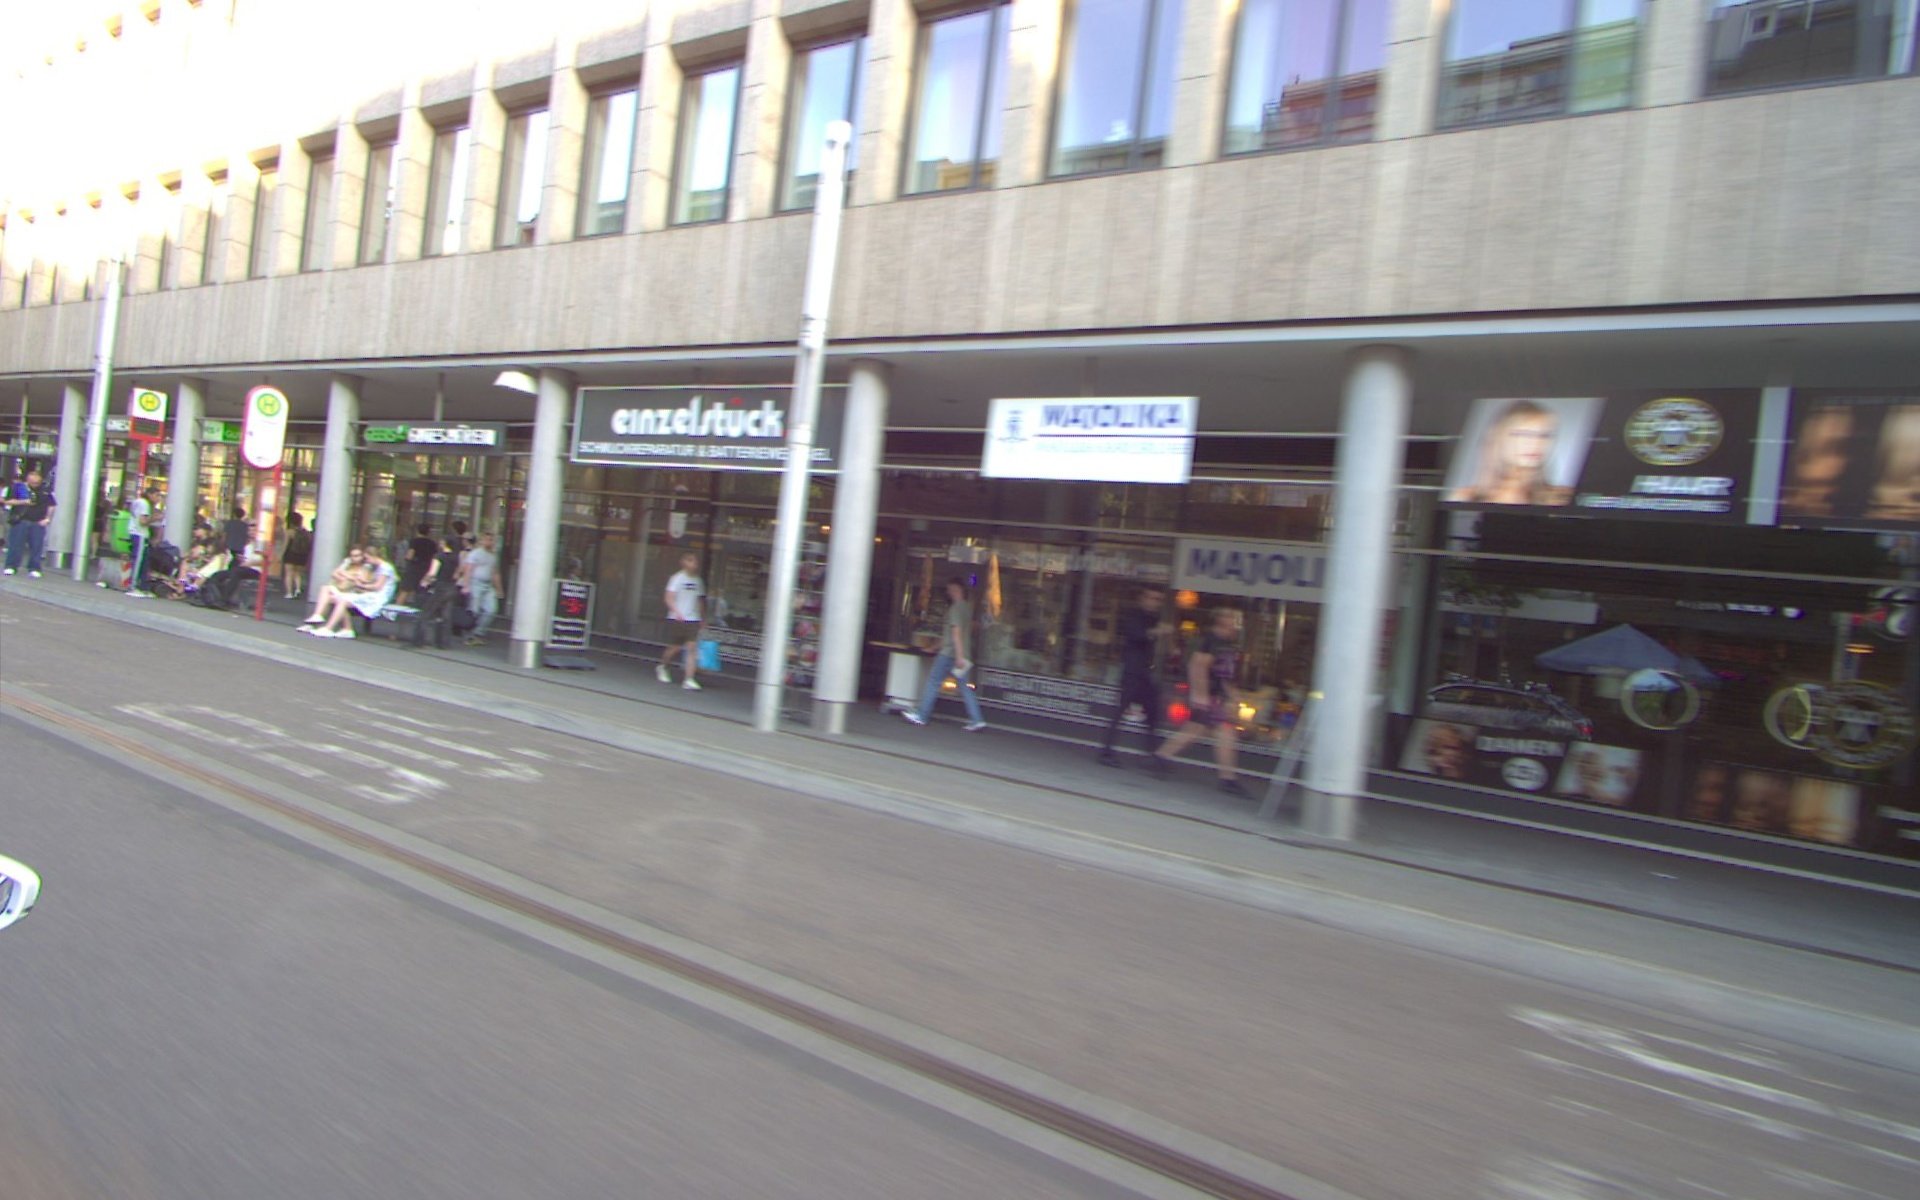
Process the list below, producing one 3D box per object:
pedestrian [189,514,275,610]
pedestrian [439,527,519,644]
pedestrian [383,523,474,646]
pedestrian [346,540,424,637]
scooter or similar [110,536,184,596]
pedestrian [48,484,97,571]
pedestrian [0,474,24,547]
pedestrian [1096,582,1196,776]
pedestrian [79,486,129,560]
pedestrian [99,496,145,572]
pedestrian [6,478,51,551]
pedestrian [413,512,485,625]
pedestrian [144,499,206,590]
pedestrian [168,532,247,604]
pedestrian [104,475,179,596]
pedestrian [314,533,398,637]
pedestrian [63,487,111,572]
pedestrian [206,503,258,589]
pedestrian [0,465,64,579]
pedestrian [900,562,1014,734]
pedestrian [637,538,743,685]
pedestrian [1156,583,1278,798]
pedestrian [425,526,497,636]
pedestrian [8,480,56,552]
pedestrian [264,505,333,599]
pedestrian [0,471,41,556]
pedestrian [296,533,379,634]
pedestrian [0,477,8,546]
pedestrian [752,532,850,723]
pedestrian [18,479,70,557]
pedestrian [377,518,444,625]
[{"bbox_3d":[-11.721,-0.607,16.204,0.651,1.397,0.814,6,-1,32],"label":"pedestrian"},{"bbox_3d":[-7.330,-0.216,15.337,0.710,1.682,0.688,6,1,32],"label":"pedestrian"},{"bbox_3d":[-7.345,-0.202,13.912,0.724,1.590,0.725,6,1,32],"label":"pedestrian"},{"bbox_3d":[-8.546,-0.165,14.967,0.523,1.330,0.719,6,-1,32],"label":"pedestrian"},{"bbox_3d":[-14.001,-0.587,17.322,0.678,0.894,0.832,6,-3,45],"label":"scooter or similar"},{"bbox_3d":[-19.703,-1.600,22.337,0.594,1.829,0.540,7,1,29],"label":"pedestrian"},{"bbox_3d":[-24.978,-2.347,26.153,0.707,1.809,0.663,6,1,31],"label":"pedestrian"},{"bbox_3d":[1.962,0.815,10.589,0.672,1.913,0.616,6,1,32],"label":"pedestrian"},{"bbox_3d":[-22.154,-1.983,26.036,0.707,1.809,0.663,6,1,31],"label":"pedestrian"},{"bbox_3d":[-20.426,-1.612,24.527,0.607,1.753,0.571,7,1,29],"label":"pedestrian"},{"bbox_3d":[-25.405,-2.325,27.443,0.708,1.871,0.662,6,1,36],"label":"pedestrian"},{"bbox_3d":[-9.187,-0.559,18.093,0.760,1.906,0.688,7,1,29],"label":"pedestrian"},{"bbox_3d":[-15.455,-1.093,19.809,0.639,1.682,0.649,7,1,31],"label":"pedestrian"},{"bbox_3d":[-12.451,-0.525,16.646,0.535,1.055,0.814,6,-1,32],"label":"pedestrian"},{"bbox_3d":[-13.296,-1.042,16.346,0.657,1.862,0.640,6,1,31],"label":"pedestrian"},{"bbox_3d":[-8.384,-0.200,13.976,0.516,1.330,0.719,6,-1,32],"label":"pedestrian"},{"bbox_3d":[-19.818,-1.597,22.837,0.594,1.829,0.540,7,1,29],"label":"pedestrian"},{"bbox_3d":[-15.650,-1.154,21.632,0.607,1.753,0.571,7,1,29],"label":"pedestrian"},{"bbox_3d":[-16.123,-1.337,17.373,0.696,1.862,0.669,6,1,30],"label":"pedestrian"},{"bbox_3d":[-0.030,0.571,12.130,0.884,1.913,0.845,6,1,31],"label":"pedestrian"},{"bbox_3d":[-3.550,0.163,13.258,0.844,1.820,0.845,6,1,31],"label":"pedestrian"},{"bbox_3d":[2.483,0.848,9.689,0.783,1.913,0.707,6,1,31],"label":"pedestrian"},{"bbox_3d":[-8.116,-0.307,16.356,0.669,1.682,0.648,7,1,32],"label":"pedestrian"},{"bbox_3d":[-24.735,-2.235,26.824,0.707,1.809,0.663,6,1,31],"label":"pedestrian"},{"bbox_3d":[-13.455,-0.967,20.459,0.761,1.794,0.774,6,1,30],"label":"pedestrian"},{"bbox_3d":[-22.013,-2.008,23.336,0.865,1.862,0.669,6,1,30],"label":"pedestrian"},{"bbox_3d":[-8.821,-0.226,14.271,0.523,1.330,0.719,6,-1,32],"label":"pedestrian"},{"bbox_3d":[-24.692,-2.287,25.300,0.908,1.740,0.764,6,1,32],"label":"pedestrian"},{"bbox_3d":[-1.723,0.298,10.905,0.644,1.968,0.578,6,1,31],"label":"pedestrian"},{"bbox_3d":[-22.827,-2.037,25.069,0.707,1.809,0.663,6,1,31],"label":"pedestrian"},{"bbox_3d":[-9.588,-0.491,17.555,0.760,1.775,0.583,7,1,29],"label":"pedestrian"}]
